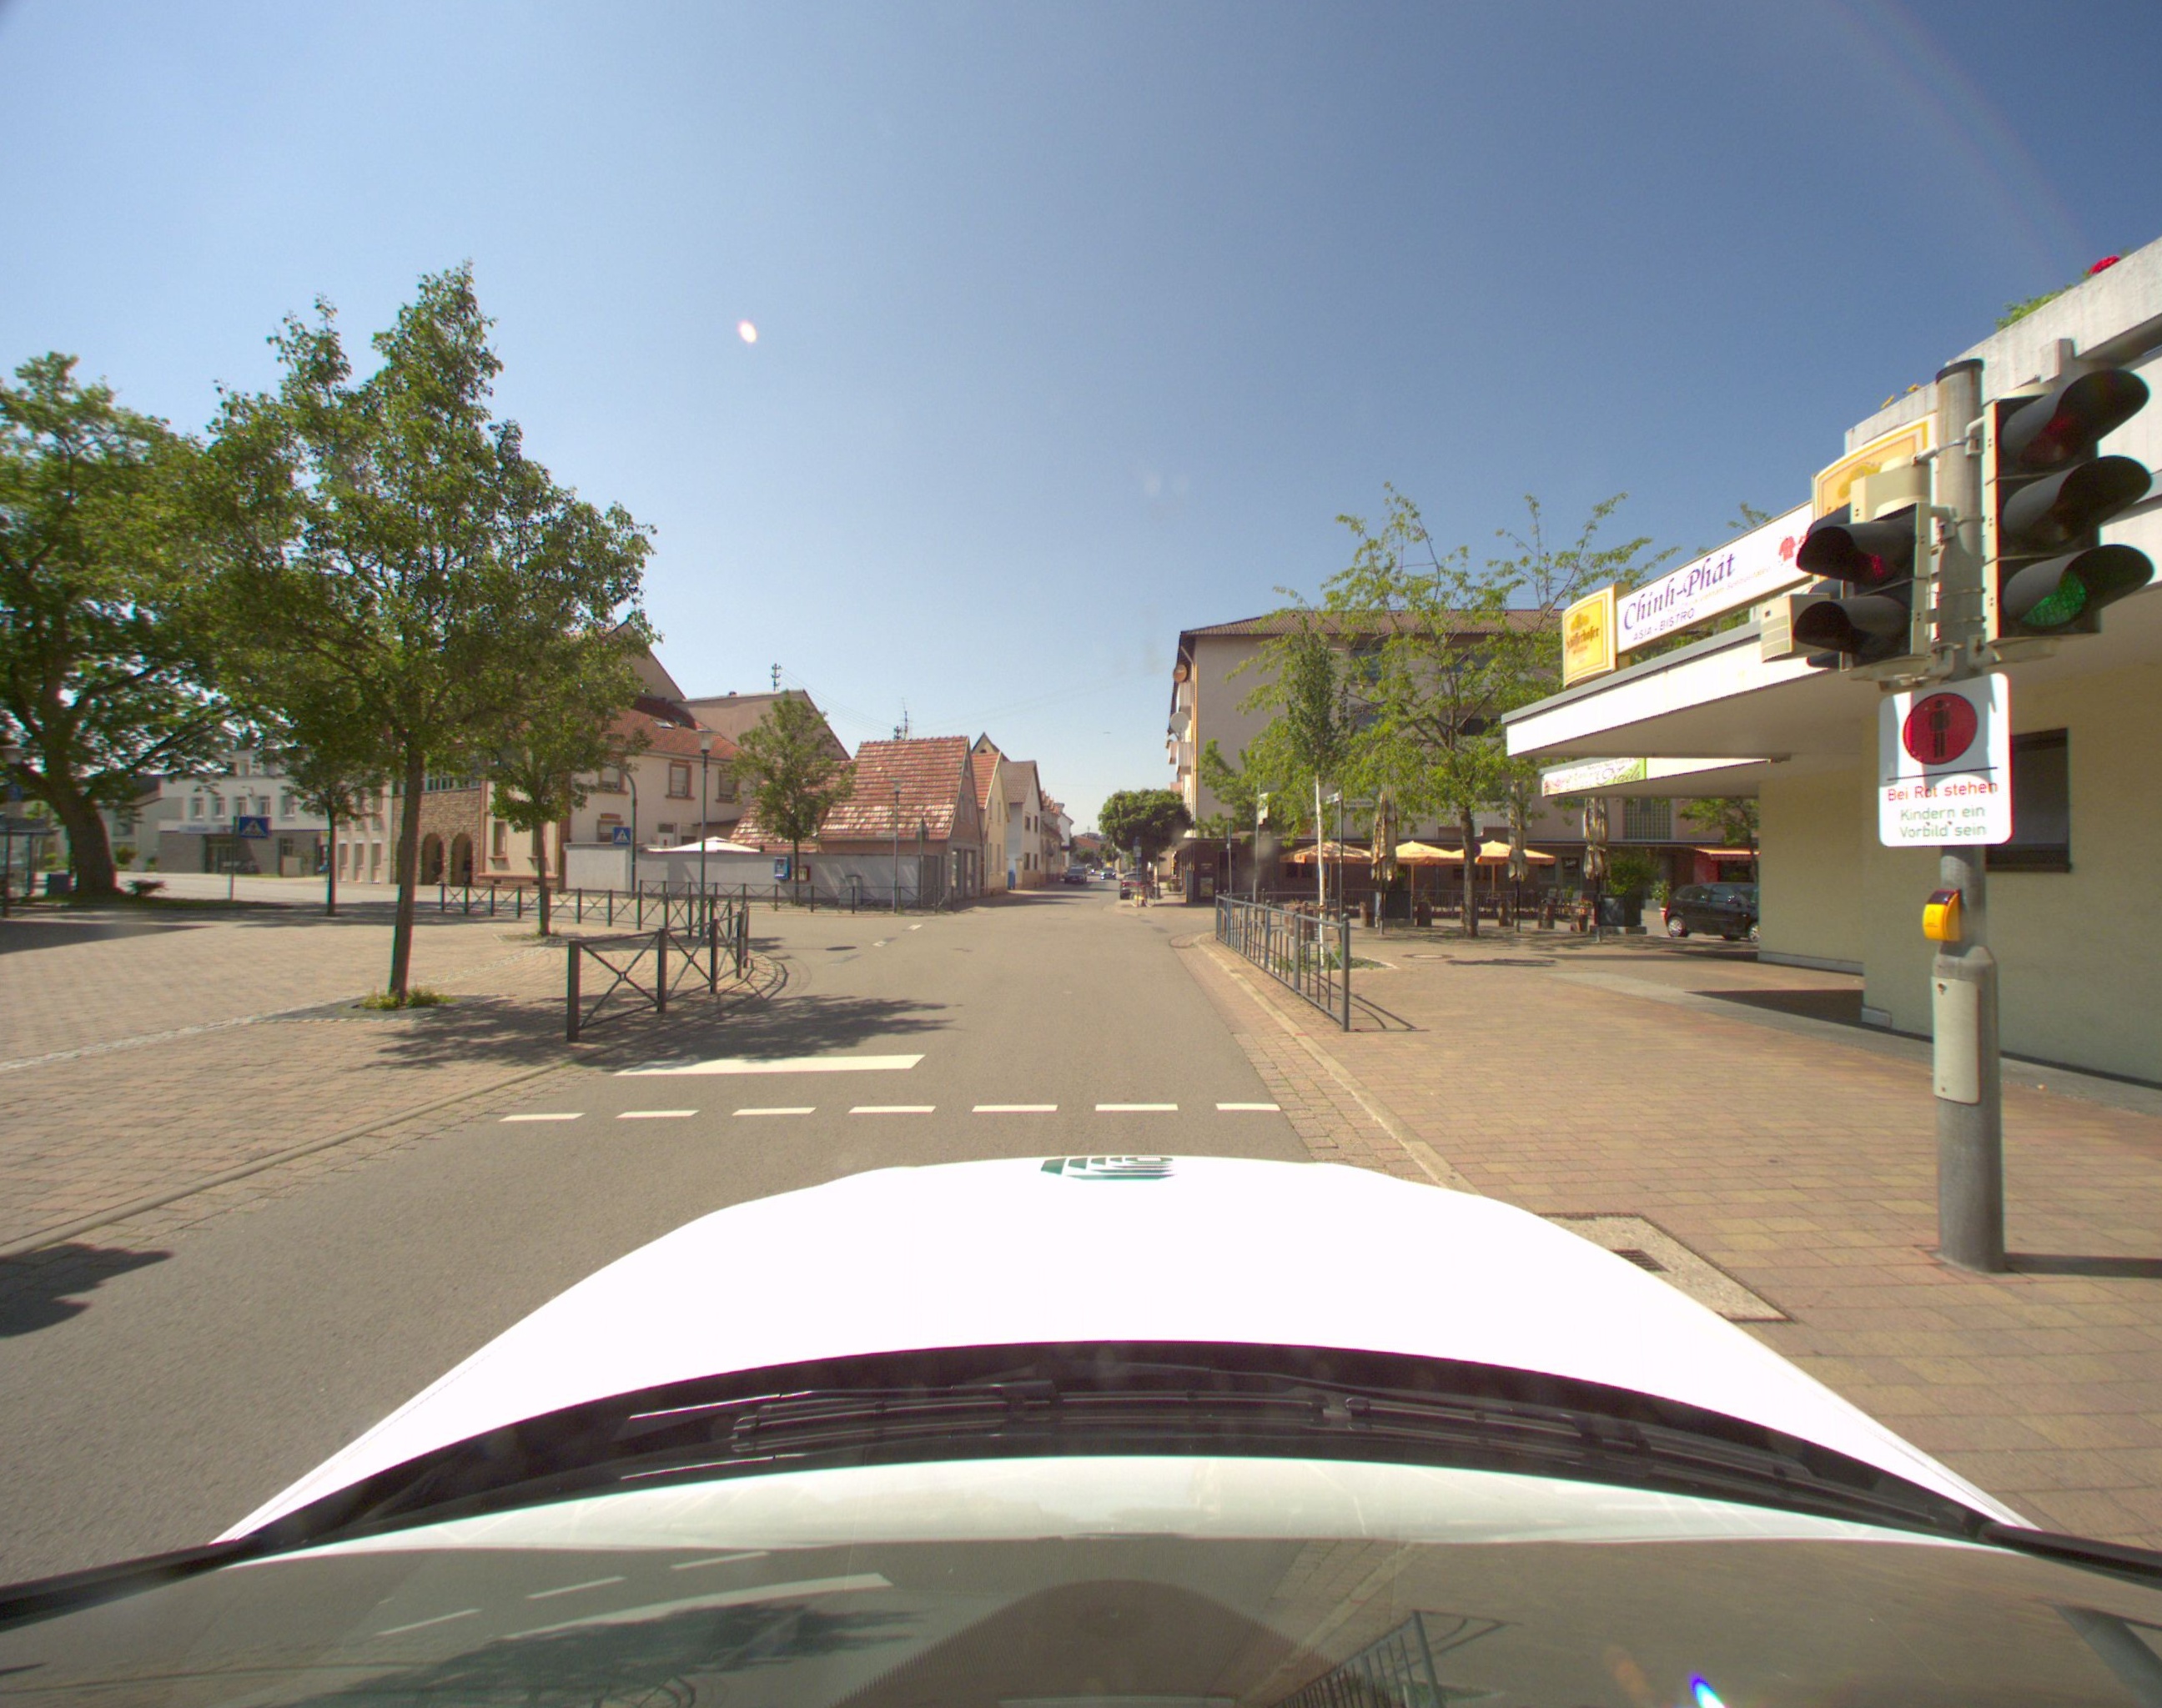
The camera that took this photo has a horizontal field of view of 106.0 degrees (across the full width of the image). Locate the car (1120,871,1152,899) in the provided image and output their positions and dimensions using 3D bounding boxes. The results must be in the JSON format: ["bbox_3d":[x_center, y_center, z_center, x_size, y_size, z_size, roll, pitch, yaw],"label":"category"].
[{"bbox_3d":[3.014,1.628,43.861,1.568,1.454,3.491,0,-1,6],"label":"car"}]

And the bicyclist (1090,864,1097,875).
[{"bbox_3d":[1.890,2.323,121.946,1.043,1.637,1.127,0,-1,-2],"label":"bicyclist"}]

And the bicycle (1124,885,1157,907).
[{"bbox_3d":[2.575,1.819,35.230,1.396,0.897,0.468,-2,-1,40],"label":"bicycle"}]

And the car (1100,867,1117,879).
[{"bbox_3d":[3.269,2.269,96.272,1.902,1.481,4.846,0,-2,2],"label":"car"}]

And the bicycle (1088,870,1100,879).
[{"bbox_3d":[1.937,3.037,121.922,1.619,1.371,3.922,0,-1,-2],"label":"bicycle"}]

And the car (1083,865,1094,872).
[{"bbox_3d":[1.645,3.373,187.872,2.016,1.598,4.517,0,-1,7],"label":"car"}]

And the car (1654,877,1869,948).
[{"bbox_3d":[16.012,1.316,19.470,1.762,1.510,3.968,1,-2,-2],"label":"car"}]

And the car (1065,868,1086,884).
[{"bbox_3d":[-0.507,2.023,75.180,1.656,1.476,4.138,0,-1,3],"label":"car"}]

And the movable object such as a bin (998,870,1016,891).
[{"bbox_3d":[-4.908,1.759,53.976,1.095,1.366,0.390,0,-1,7],"label":"movable object such as a bin"}]

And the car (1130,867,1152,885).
[{"bbox_3d":[5.691,2.088,77.659,2.034,1.689,4.846,0,-1,4],"label":"car"}]
